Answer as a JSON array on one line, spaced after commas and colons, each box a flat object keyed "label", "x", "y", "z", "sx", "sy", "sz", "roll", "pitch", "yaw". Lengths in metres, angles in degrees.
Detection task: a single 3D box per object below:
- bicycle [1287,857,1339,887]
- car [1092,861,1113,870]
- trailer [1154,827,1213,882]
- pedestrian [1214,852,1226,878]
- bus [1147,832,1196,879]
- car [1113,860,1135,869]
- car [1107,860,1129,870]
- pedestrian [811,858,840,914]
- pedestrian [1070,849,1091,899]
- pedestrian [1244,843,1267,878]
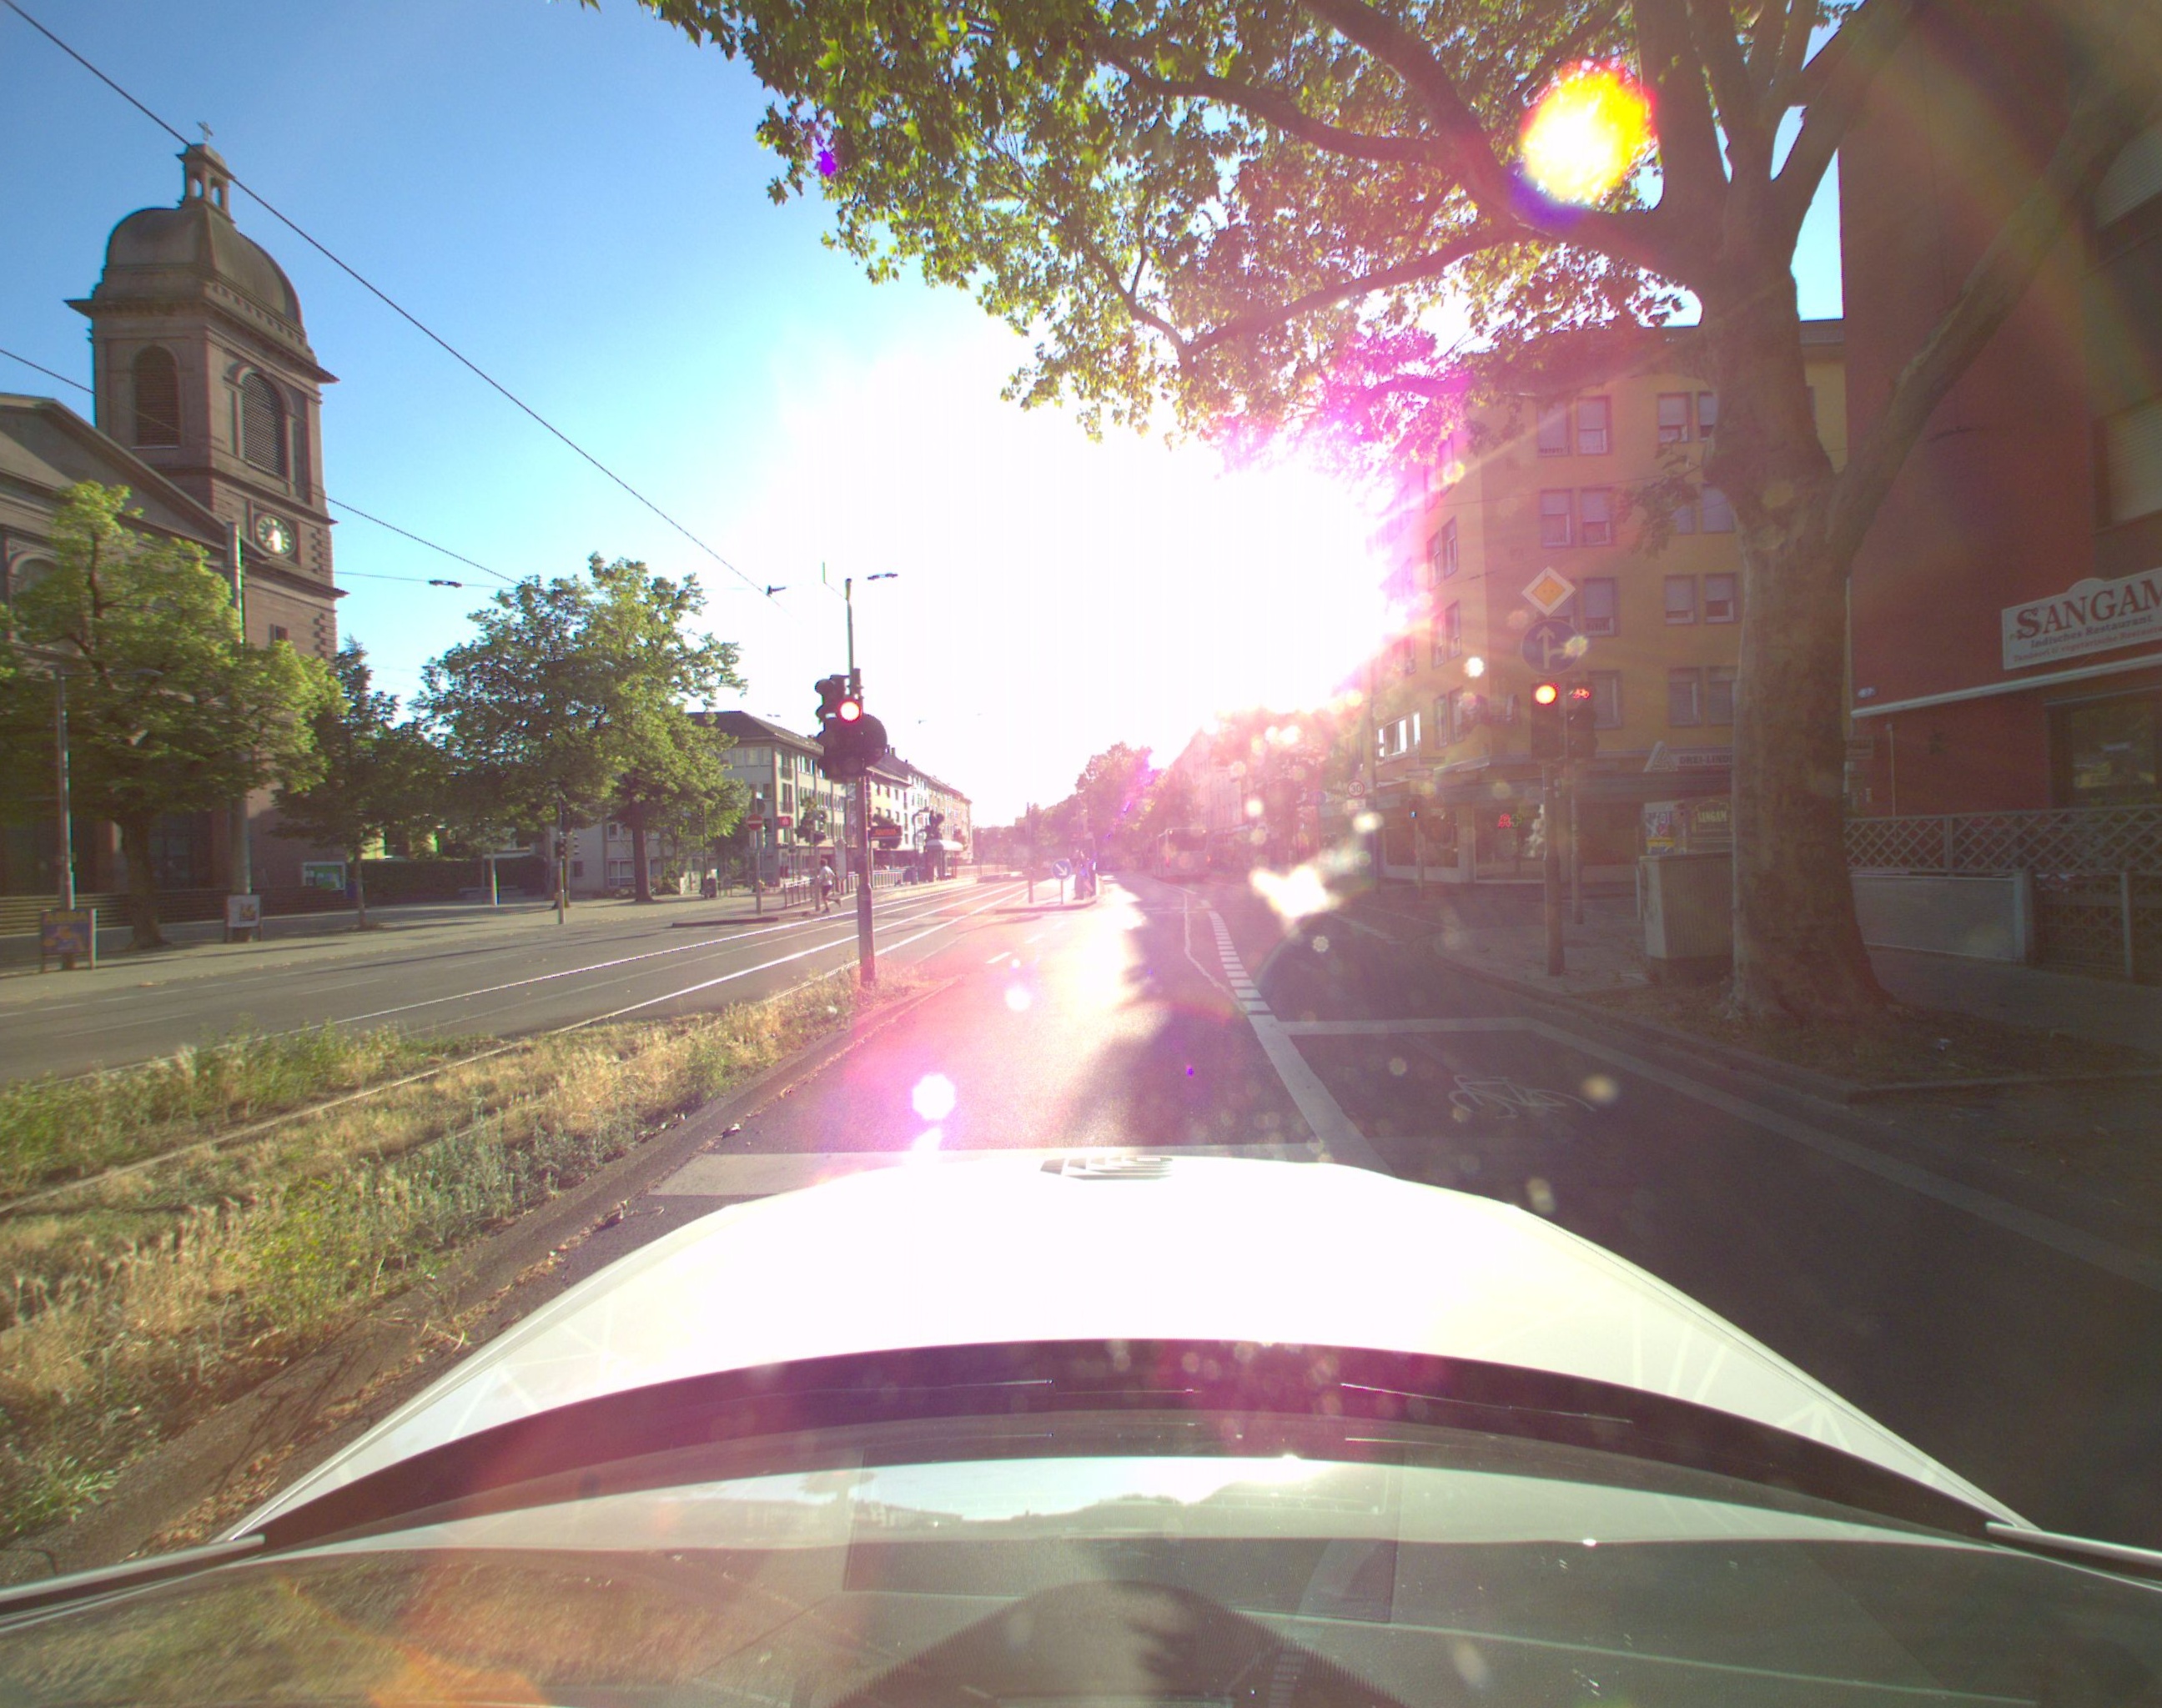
[{"label": "bicycle", "x": 8.905, "y": 0.697, "z": 31.263, "sx": 1.766, "sy": 1.021, "sz": 0.694, "roll": -4, "pitch": -1, "yaw": 1}, {"label": "car", "x": 4.343, "y": 2.302, "z": 166.713, "sx": 3.912, "sy": 1.596, "sz": 1.676, "roll": -2, "pitch": 0, "yaw": -27}, {"label": "trailer", "x": 6.112, "y": 0.051, "z": 50.050, "sx": 2.801, "sy": 3.110, "sz": 8.797, "roll": 0, "pitch": 0, "yaw": 2}, {"label": "pedestrian", "x": 8.622, "y": 0.682, "z": 50.424, "sx": 0.674, "sy": 1.628, "sz": 0.656, "roll": 0, "pitch": -1, "yaw": 2}, {"label": "bus", "x": 6.405, "y": 0.113, "z": 59.015, "sx": 2.801, "sy": 3.101, "sz": 9.097, "roll": 0, "pitch": 0, "yaw": 2}, {"label": "car", "x": 8.340, "y": 2.039, "z": 158.564, "sx": 3.911, "sy": 1.699, "sz": 1.817, "roll": -2, "pitch": 0, "yaw": -27}, {"label": "car", "x": 7.404, "y": 2.149, "z": 161.372, "sx": 3.911, "sy": 1.699, "sz": 1.817, "roll": -2, "pitch": 0, "yaw": -27}, {"label": "pedestrian", "x": -8.312, "y": 1.022, "z": 26.492, "sx": 0.678, "sy": 1.770, "sz": 0.686, "roll": -2, "pitch": 0, "yaw": -3}, {"label": "pedestrian", "x": -0.002, "y": 0.703, "z": 28.992, "sx": 0.677, "sy": 1.770, "sz": 0.687, "roll": -1, "pitch": -1, "yaw": 2}, {"label": "pedestrian", "x": 10.138, "y": 0.352, "z": 47.435, "sx": 0.961, "sy": 2.014, "sz": 0.907, "roll": 0, "pitch": -1, "yaw": -37}]
